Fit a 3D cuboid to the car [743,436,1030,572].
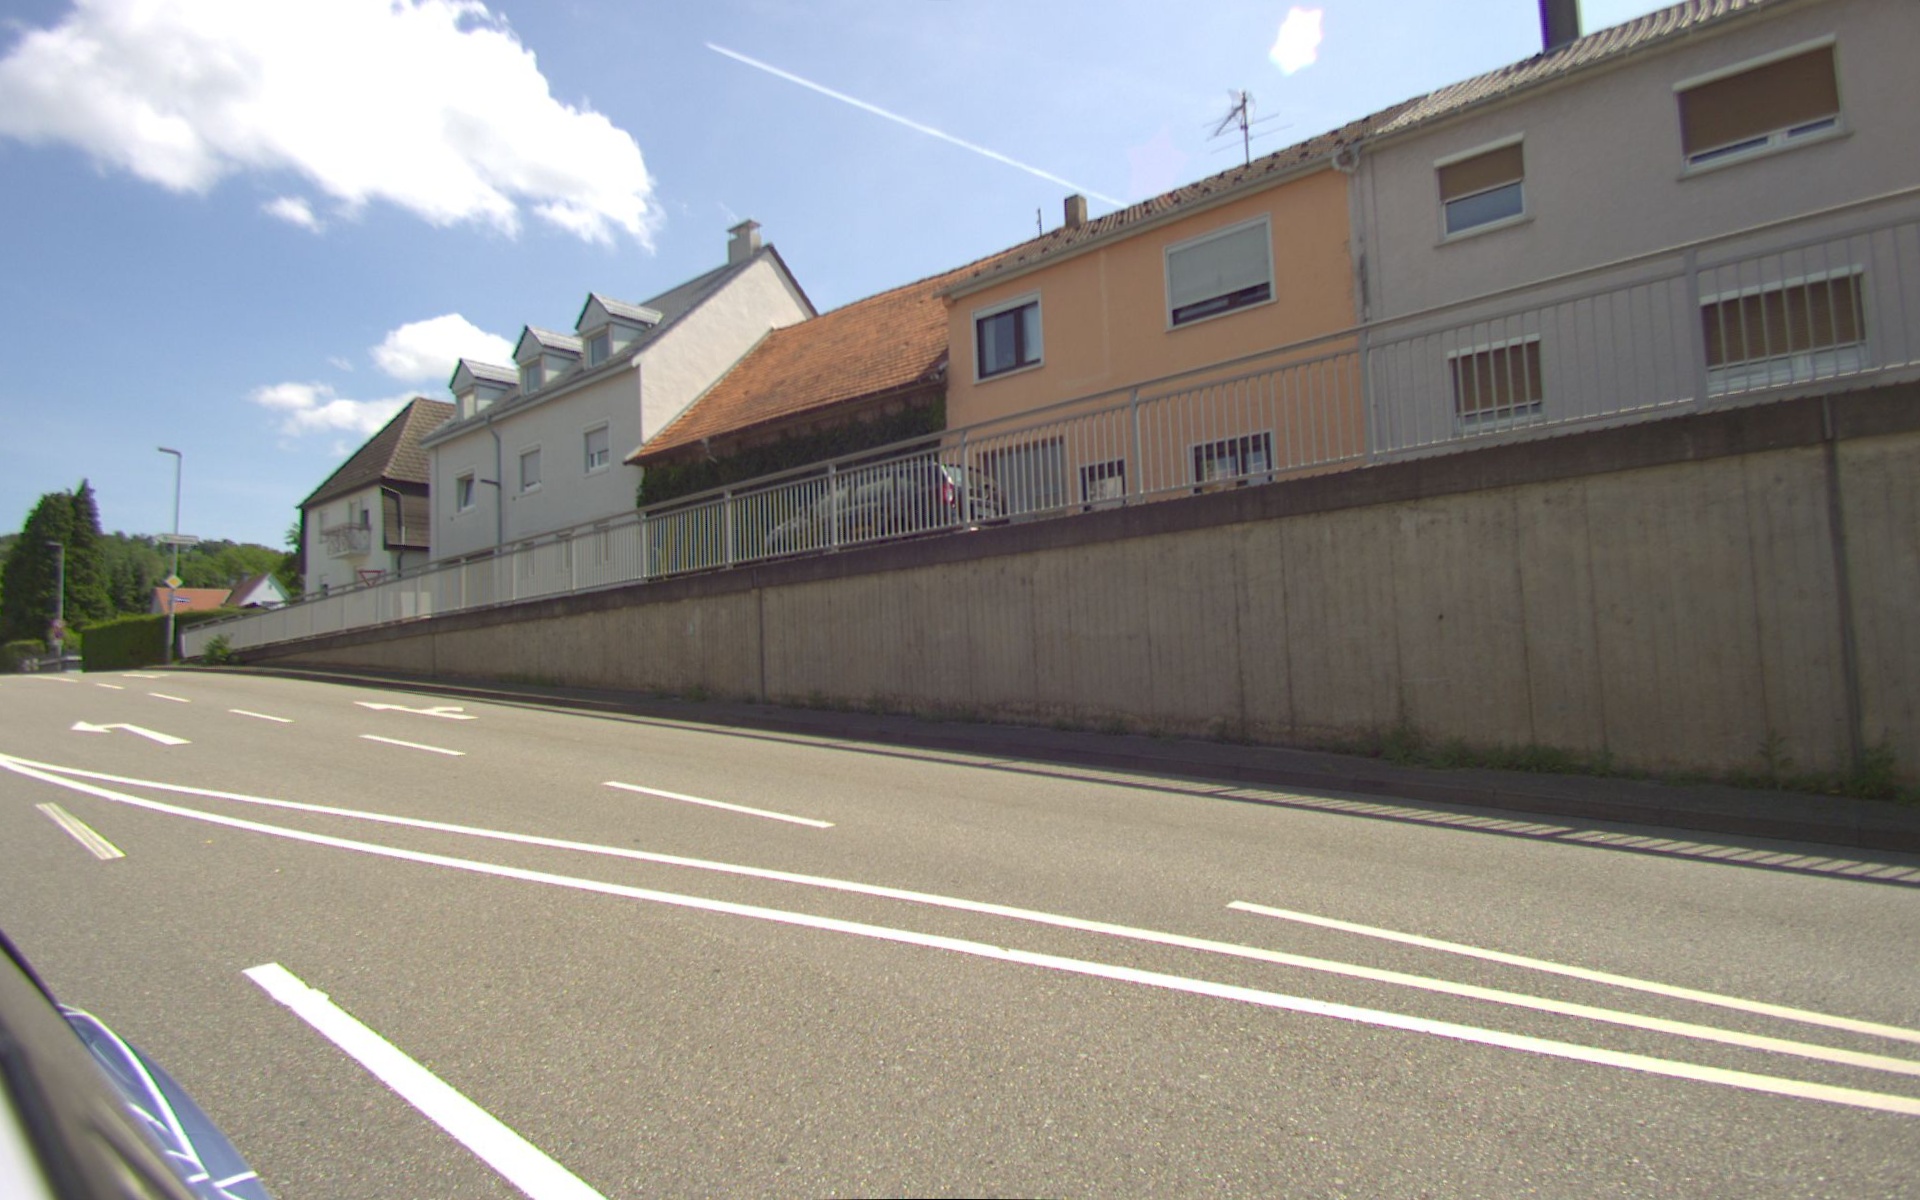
[{"bbox_3d":[-1.241,-1.349,15.636,4.388,1.416,1.768,-5,-4,39],"label":"car"}]
